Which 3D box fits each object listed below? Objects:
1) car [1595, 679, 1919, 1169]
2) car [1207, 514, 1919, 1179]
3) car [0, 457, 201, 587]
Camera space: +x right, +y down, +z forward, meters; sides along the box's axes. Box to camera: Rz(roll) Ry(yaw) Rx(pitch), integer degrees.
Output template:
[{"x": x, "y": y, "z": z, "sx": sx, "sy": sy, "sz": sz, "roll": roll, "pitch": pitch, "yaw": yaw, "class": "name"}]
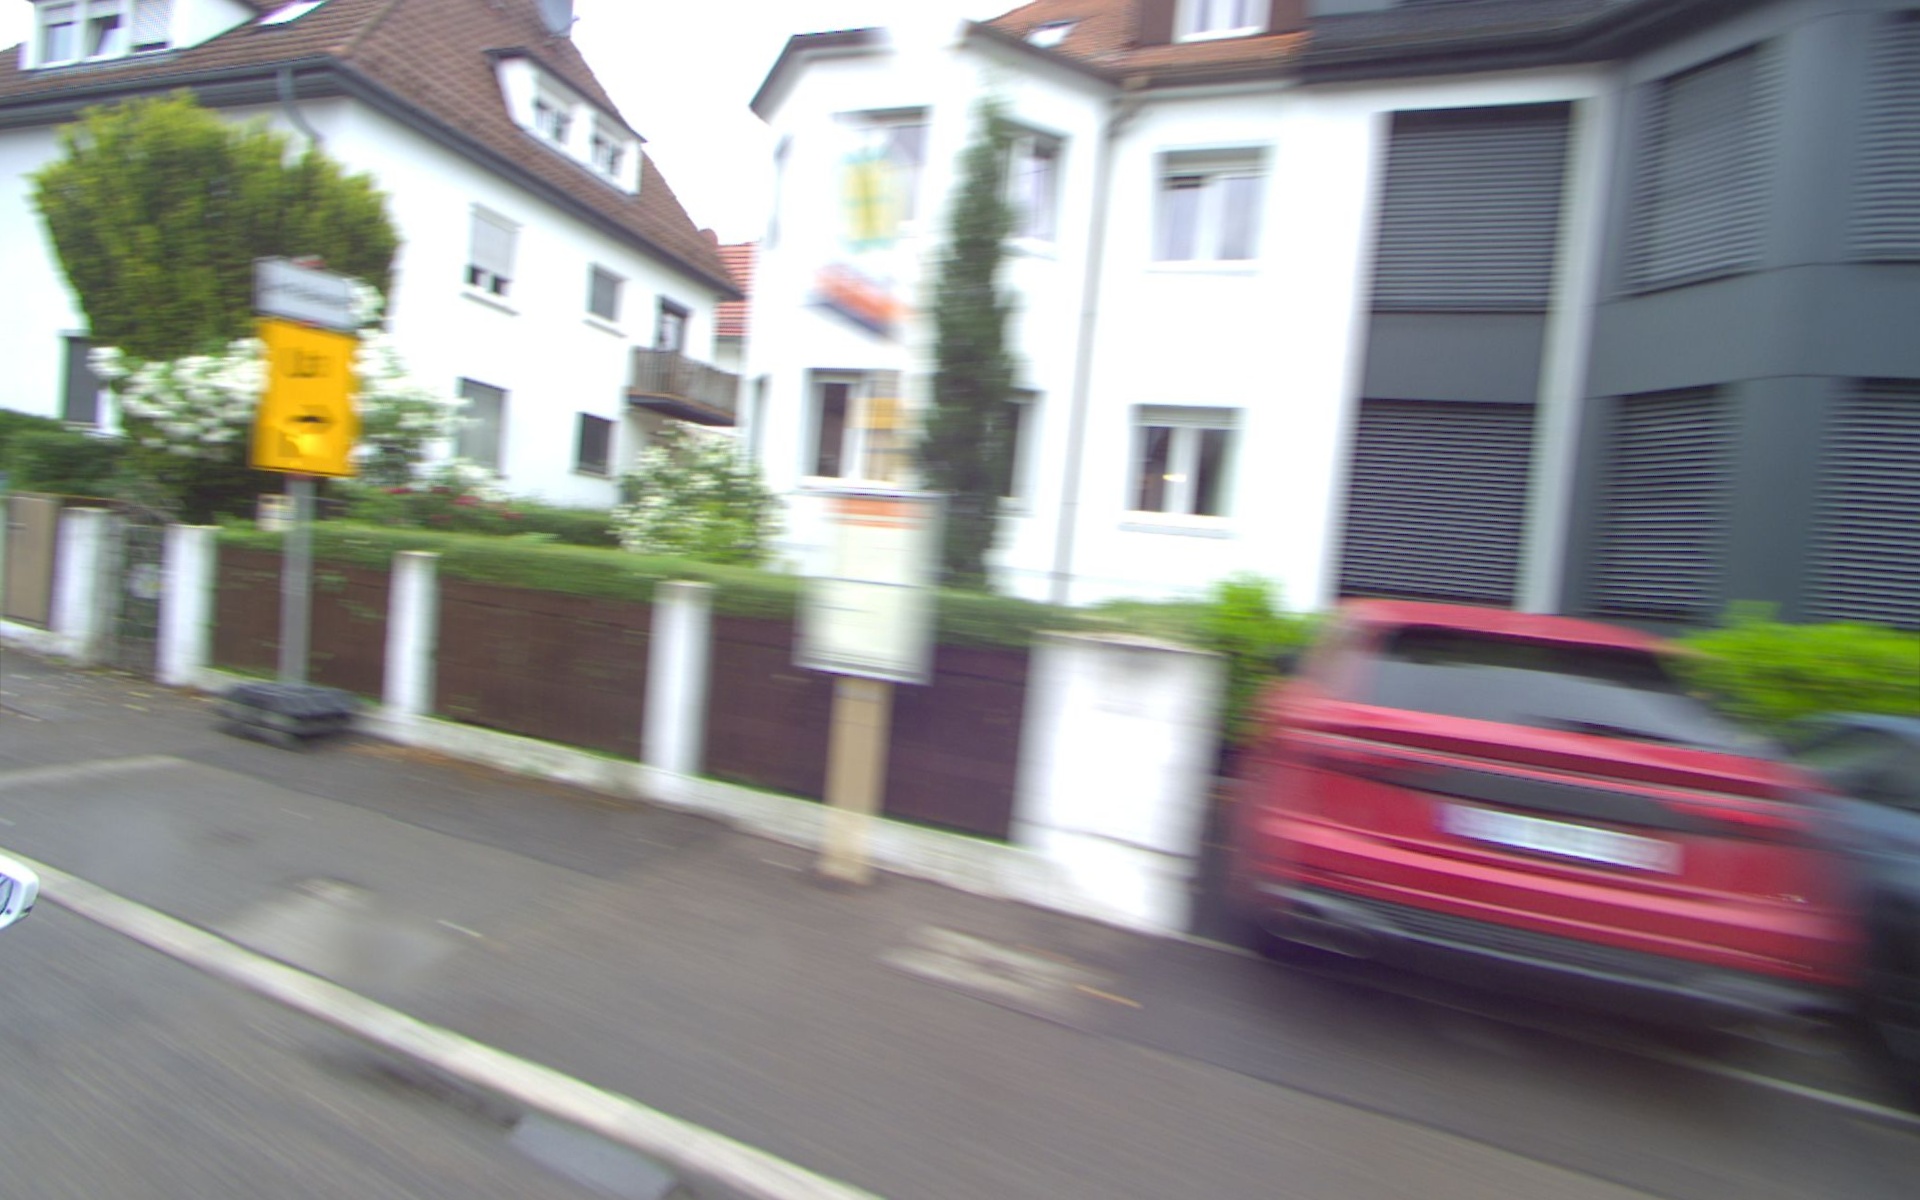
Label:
[{"x": 4.701, "y": 1.351, "z": 4.448, "sx": 1.962, "sy": 1.435, "sz": 4.559, "roll": 7, "pitch": 2, "yaw": 18, "class": "car"}, {"x": 2.516, "y": 0.721, "z": 5.159, "sx": 1.962, "sy": 1.773, "sz": 4.083, "roll": 7, "pitch": 2, "yaw": 18, "class": "car"}, {"x": -11.988, "y": -1.060, "z": 12.466, "sx": 1.587, "sy": 1.406, "sz": 3.752, "roll": 9, "pitch": 2, "yaw": 22, "class": "car"}]
